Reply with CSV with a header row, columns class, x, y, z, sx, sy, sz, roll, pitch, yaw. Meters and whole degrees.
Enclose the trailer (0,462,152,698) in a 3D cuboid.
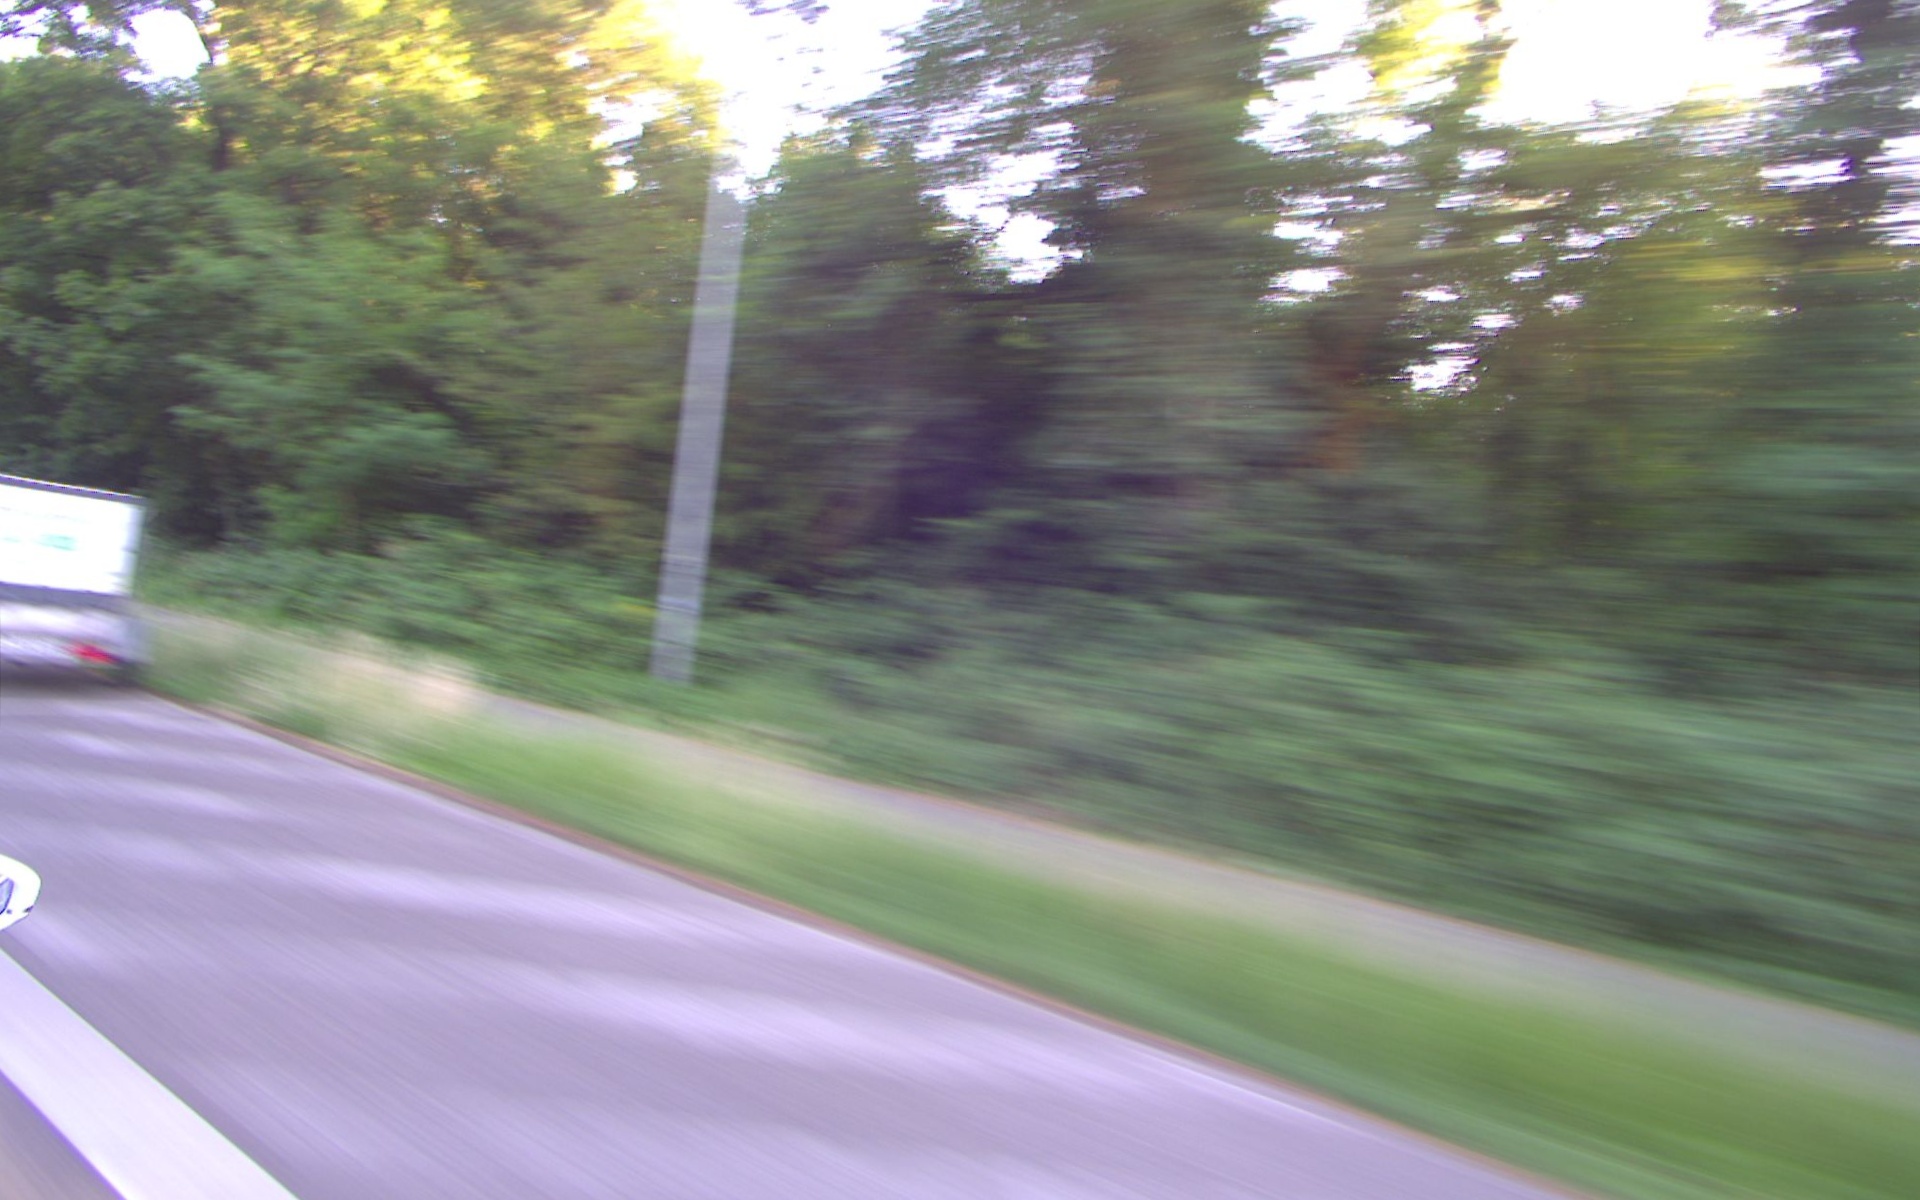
class,x,y,z,sx,sy,sz,roll,pitch,yaw
trailer,-8.069,-0.288,8.780,1.449,1.683,3.735,6,1,-39
